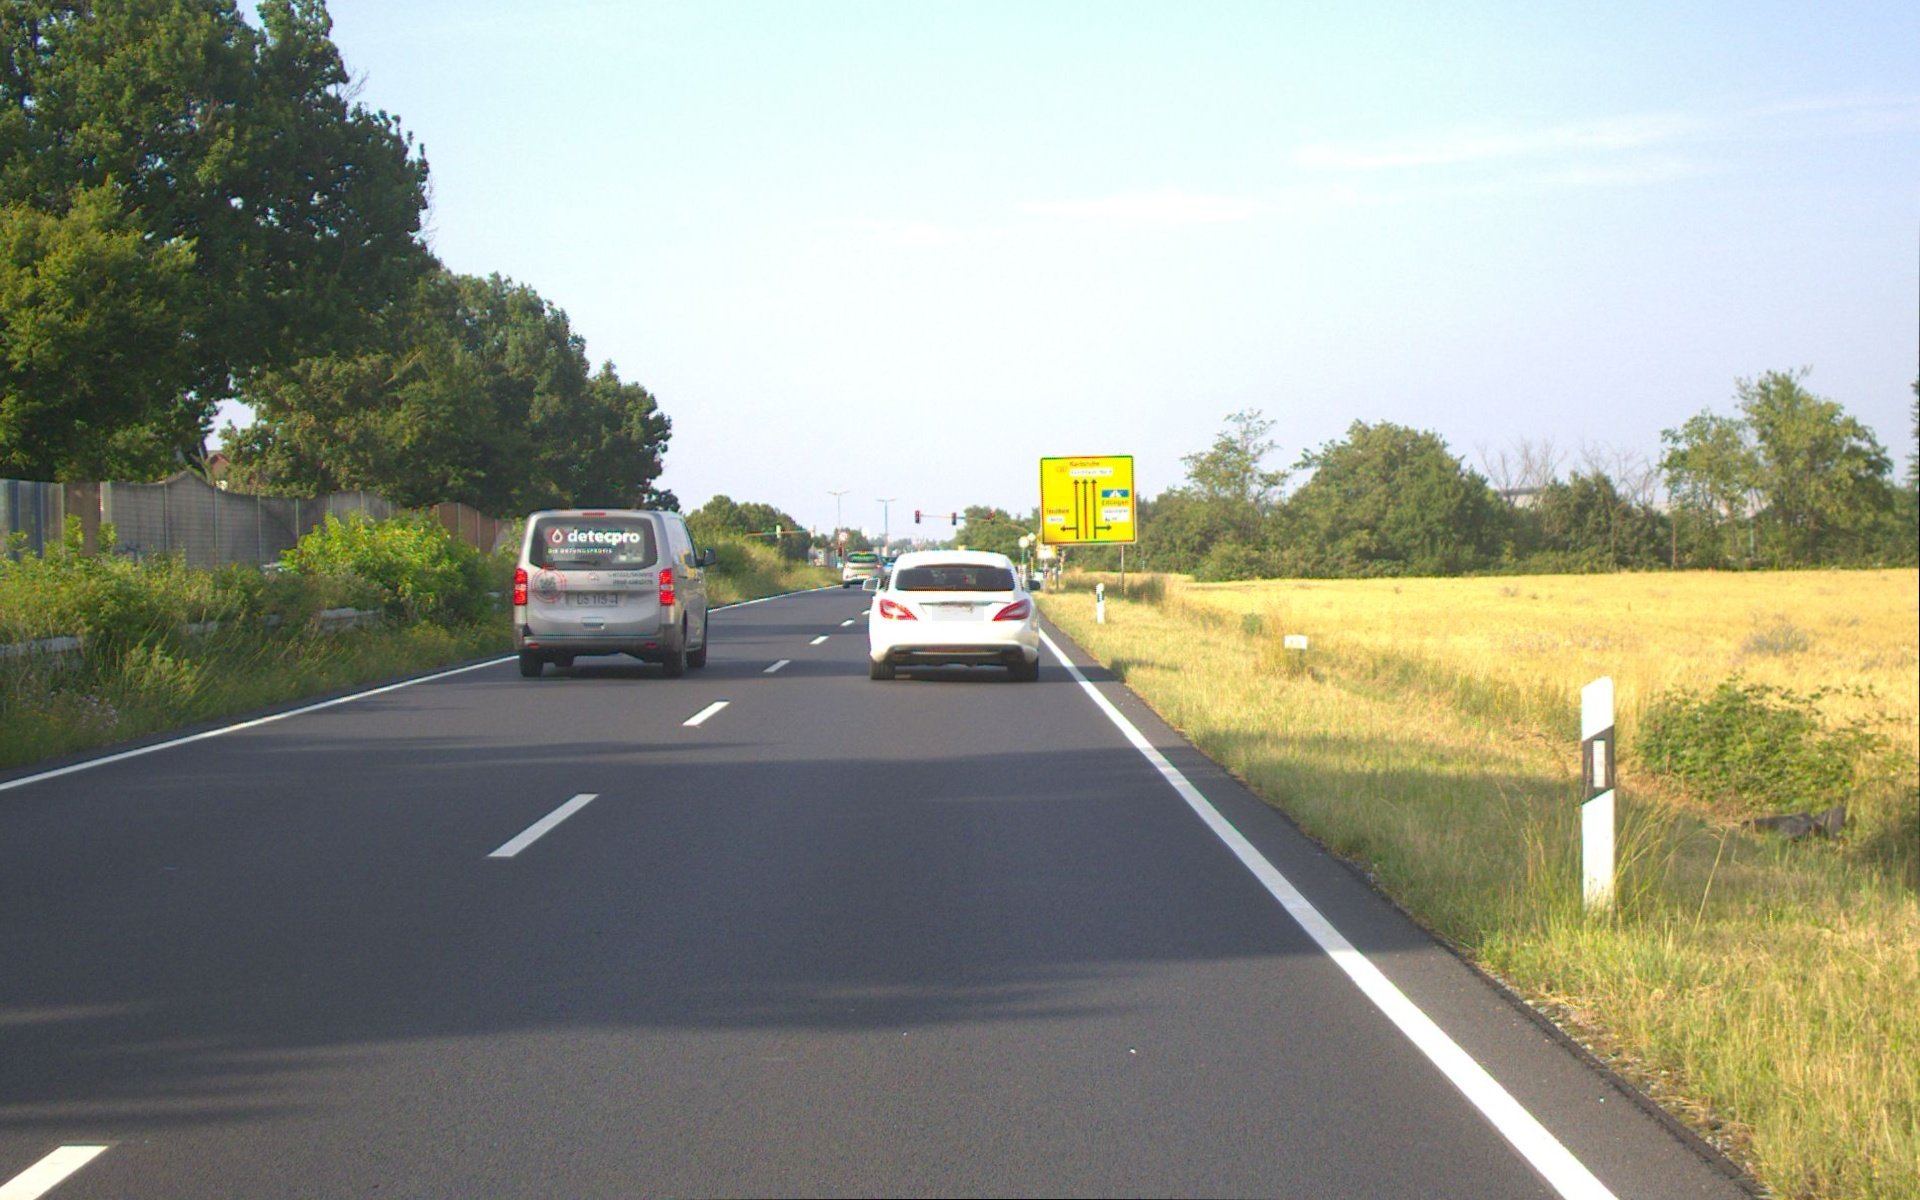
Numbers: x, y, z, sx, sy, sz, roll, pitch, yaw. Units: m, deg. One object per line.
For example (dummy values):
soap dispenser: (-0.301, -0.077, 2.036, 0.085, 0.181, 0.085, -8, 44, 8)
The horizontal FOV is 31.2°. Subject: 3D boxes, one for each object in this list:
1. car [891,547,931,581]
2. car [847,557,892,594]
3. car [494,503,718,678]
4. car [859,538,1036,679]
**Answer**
car: (-2.434, -1.773, 169.511, 1.877, 1.645, 3.664, 1, 0, -2)
car: (-3.700, -1.019, 141.313, 1.717, 1.487, 3.584, 1, 0, 0)
car: (-4.031, -0.145, 39.956, 2.025, 1.885, 4.958, 1, 1, 1)
car: (-0.149, 0.072, 38.800, 1.894, 1.503, 4.000, 0, 0, 0)
